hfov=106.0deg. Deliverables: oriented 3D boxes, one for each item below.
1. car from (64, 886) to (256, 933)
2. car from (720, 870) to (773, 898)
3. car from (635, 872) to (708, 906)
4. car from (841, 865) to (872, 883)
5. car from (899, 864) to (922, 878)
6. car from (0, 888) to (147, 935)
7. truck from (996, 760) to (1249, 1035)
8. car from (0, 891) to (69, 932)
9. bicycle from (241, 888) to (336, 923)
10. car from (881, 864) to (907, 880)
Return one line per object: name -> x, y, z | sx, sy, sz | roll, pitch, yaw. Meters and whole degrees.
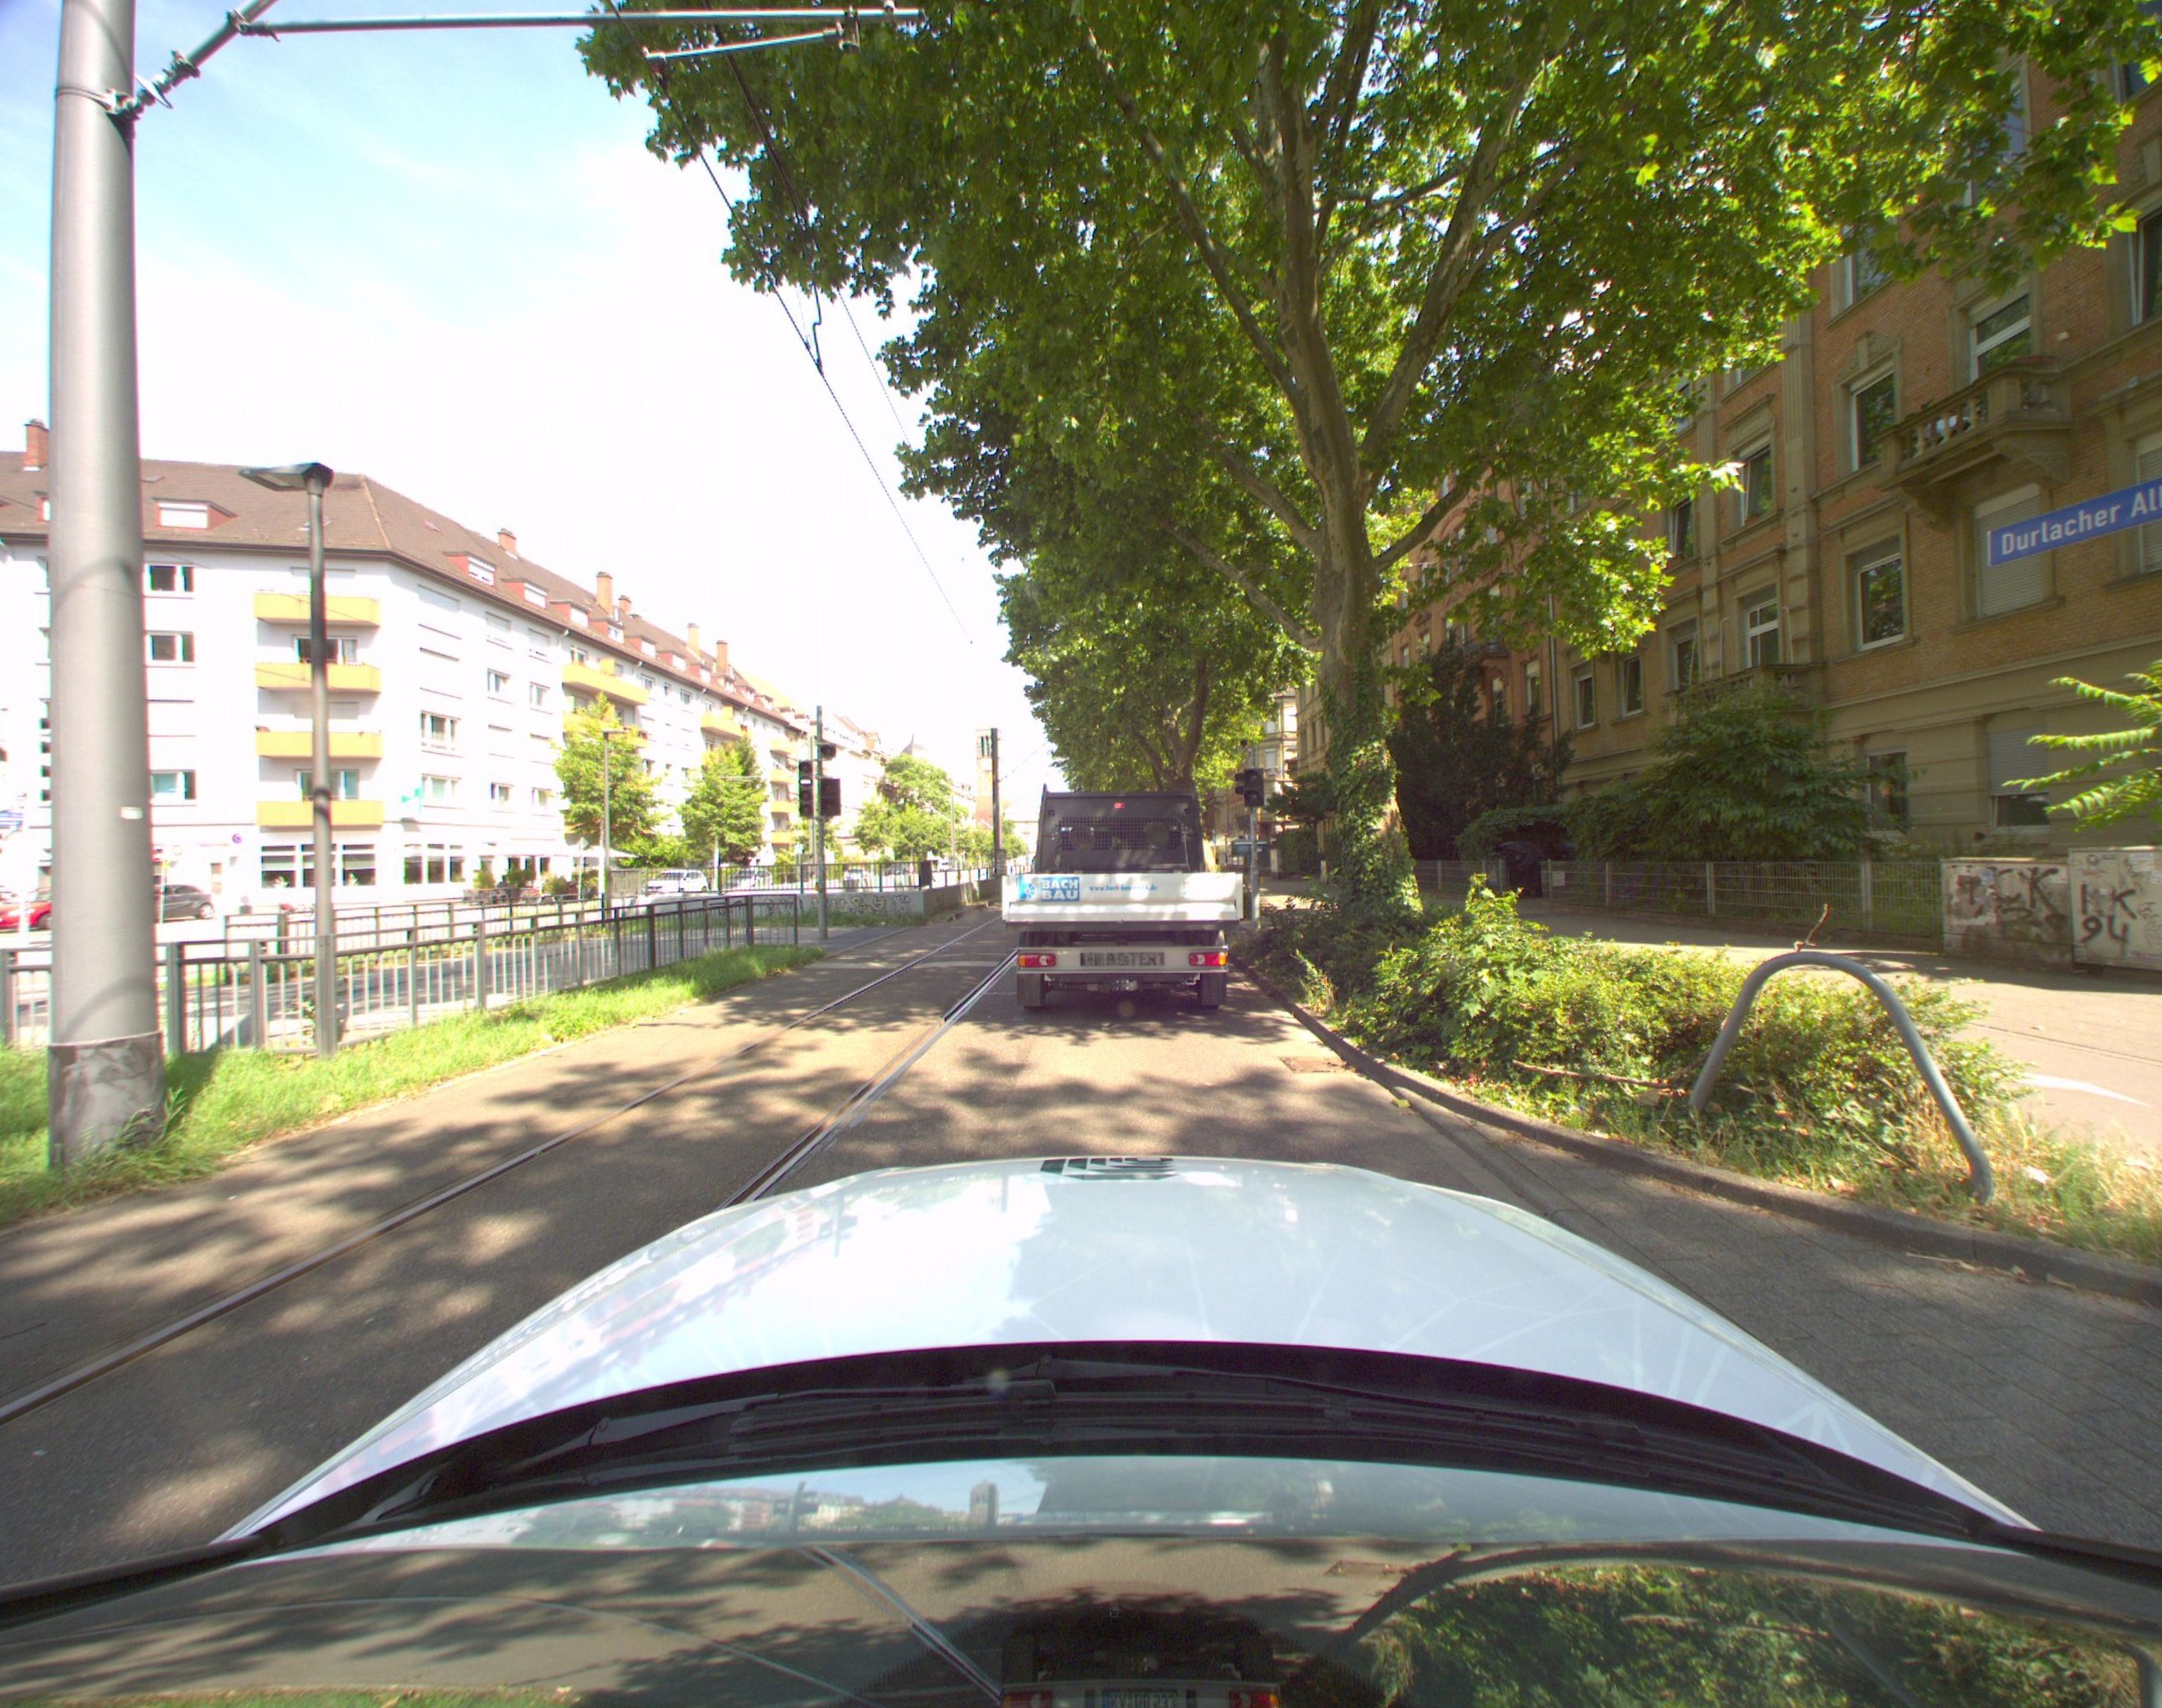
car -> -33.167, 1.936, 29.565 | 1.830, 1.376, 4.637 | -2, 0, -4
car -> -20.297, 1.779, 49.571 | 1.767, 1.498, 3.994 | -3, 0, -4
car -> -20.523, 1.718, 40.990 | 1.767, 1.498, 3.994 | -3, 0, -4
car -> -19.546, 1.739, 70.978 | 1.767, 1.498, 3.994 | -2, 0, -4
car -> -19.310, 1.895, 92.420 | 1.764, 1.498, 4.000 | -2, 0, 0
car -> -36.527, 2.024, 28.996 | 1.929, 1.406, 4.158 | -2, 0, -6
truck -> 0.457, 0.389, 9.162 | 2.130, 2.319, 4.404 | -1, 0, 3
car -> -39.315, 2.106, 28.830 | 1.929, 1.406, 4.158 | -2, 0, -6
bicycle -> -30.102, 1.937, 31.026 | 0.908, 1.137, 2.807 | -2, 0, -1
car -> -19.399, 1.839, 84.579 | 1.764, 1.498, 4.000 | -2, 0, 0
